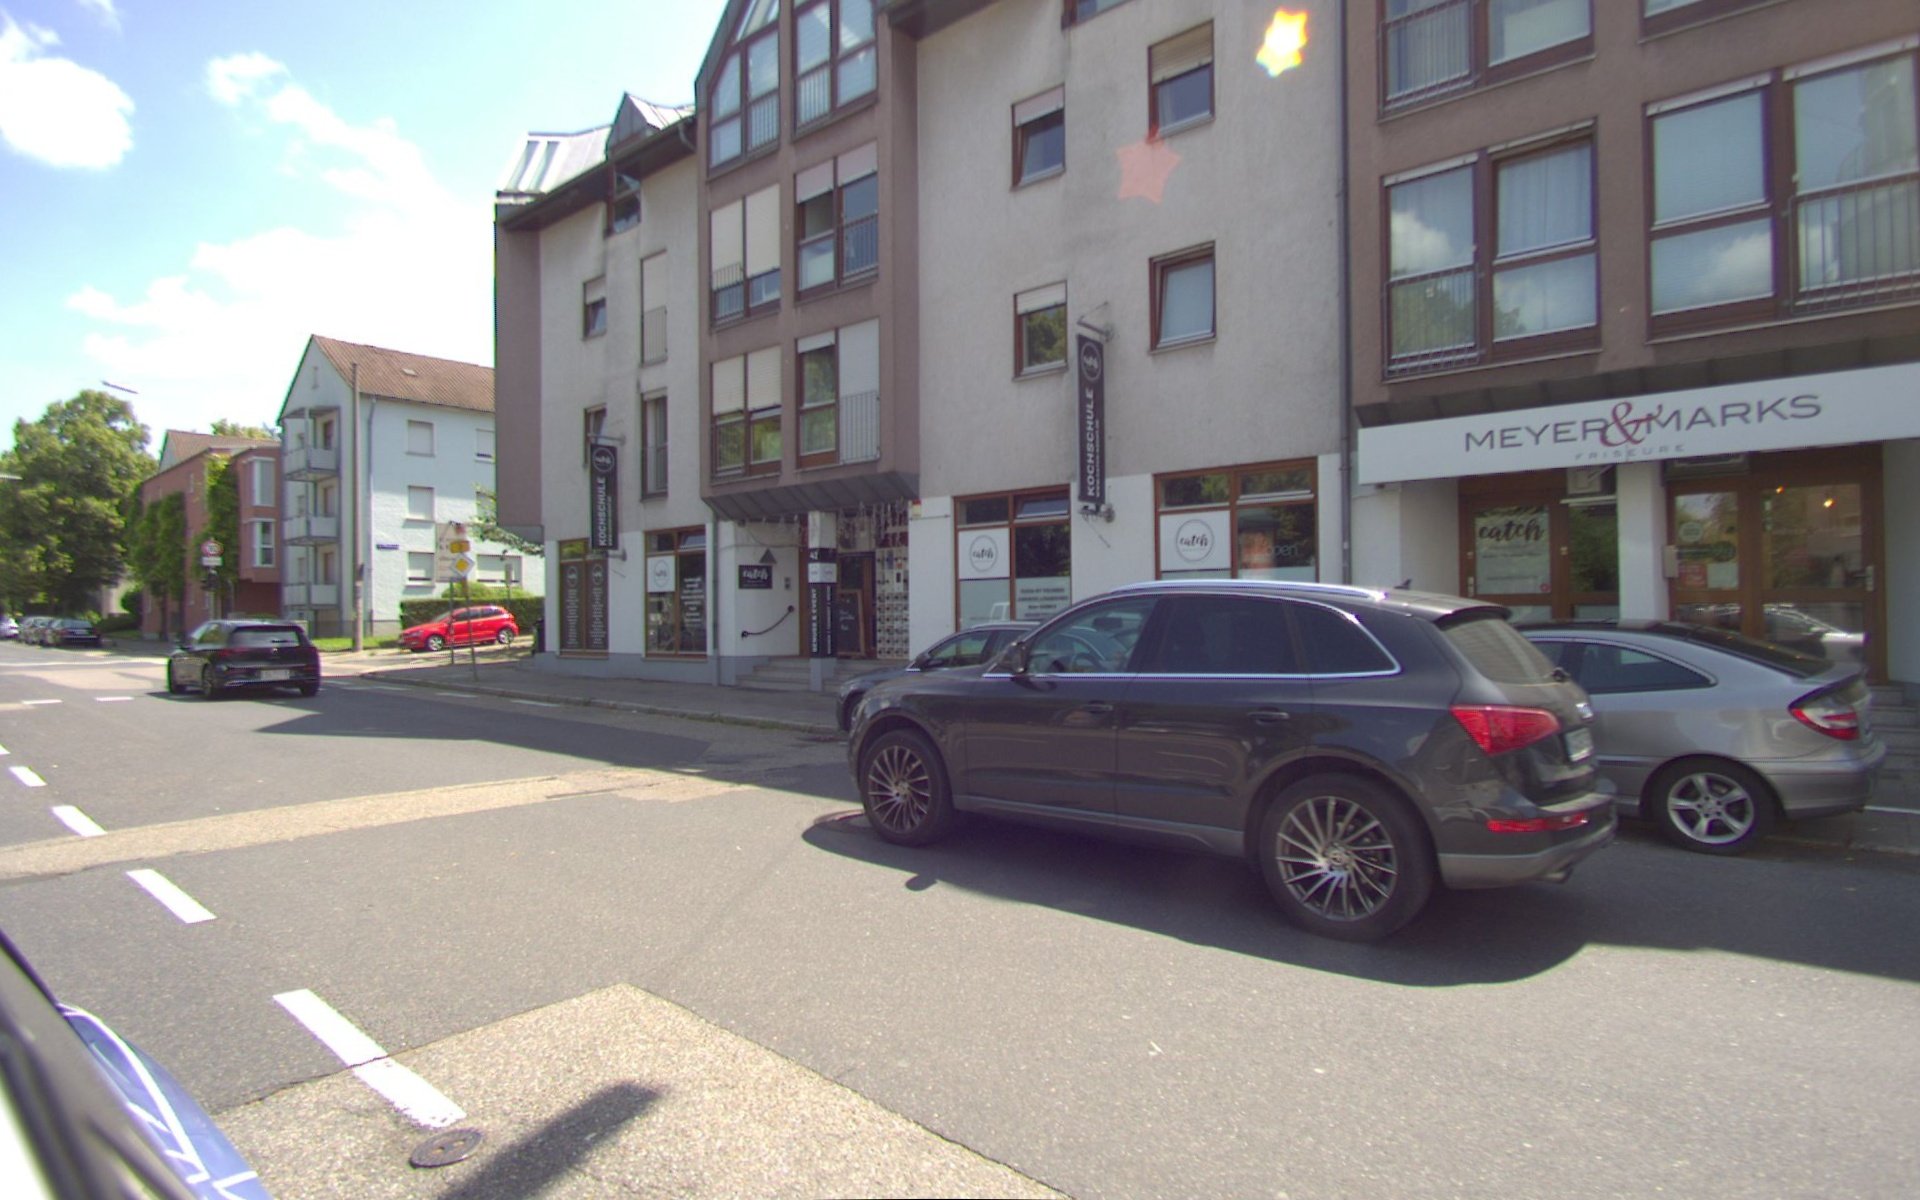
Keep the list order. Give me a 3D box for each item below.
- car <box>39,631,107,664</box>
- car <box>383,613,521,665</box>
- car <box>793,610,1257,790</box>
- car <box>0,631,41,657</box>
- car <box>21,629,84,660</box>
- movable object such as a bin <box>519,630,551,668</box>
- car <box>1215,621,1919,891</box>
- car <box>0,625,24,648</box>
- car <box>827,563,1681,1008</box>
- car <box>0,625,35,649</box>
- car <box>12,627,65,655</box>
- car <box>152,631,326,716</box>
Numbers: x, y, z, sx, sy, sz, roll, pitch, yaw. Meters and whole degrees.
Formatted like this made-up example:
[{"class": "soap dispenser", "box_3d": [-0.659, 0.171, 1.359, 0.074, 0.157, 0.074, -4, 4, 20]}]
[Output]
[{"class": "car", "box_3d": [-43.702, 2.309, 49.835, 4.565, 1.551, 1.867, -1, -2, 40]}, {"class": "car", "box_3d": [-17.906, 1.344, 35.807, 1.731, 1.462, 3.948, -3, 1, 40]}, {"class": "car", "box_3d": [0.480, 0.902, 10.994, 4.968, 1.458, 1.820, -1, 1, 42]}, {"class": "car", "box_3d": [-58.412, 2.693, 62.658, 3.997, 1.453, 1.730, -1, 0, 40]}, {"class": "car", "box_3d": [-48.522, 2.350, 54.096, 4.565, 1.551, 1.867, -1, -2, 40]}, {"class": "movable object such as a bin", "box_3d": [-12.332, 1.416, 29.366, 0.624, 1.105, 0.673, 0, -1, 1]}, {"class": "car", "box_3d": [4.333, 0.899, 7.597, 4.326, 1.394, 1.820, -1, 1, 42]}, {"class": "car", "box_3d": [-66.796, 2.548, 70.766, 3.997, 1.519, 1.552, -1, 0, 40]}, {"class": "car", "box_3d": [1.371, 0.730, 5.892, 4.440, 1.633, 1.793, -1, -2, 42]}, {"class": "car", "box_3d": [-62.984, 2.454, 67.281, 3.997, 1.519, 1.730, -1, 0, 40]}, {"class": "car", "box_3d": [-53.038, 2.342, 58.232, 3.997, 1.519, 1.730, -1, 0, 40]}, {"class": "car", "box_3d": [-13.832, 1.317, 19.334, 4.220, 1.430, 1.724, -1, -2, 41]}]
